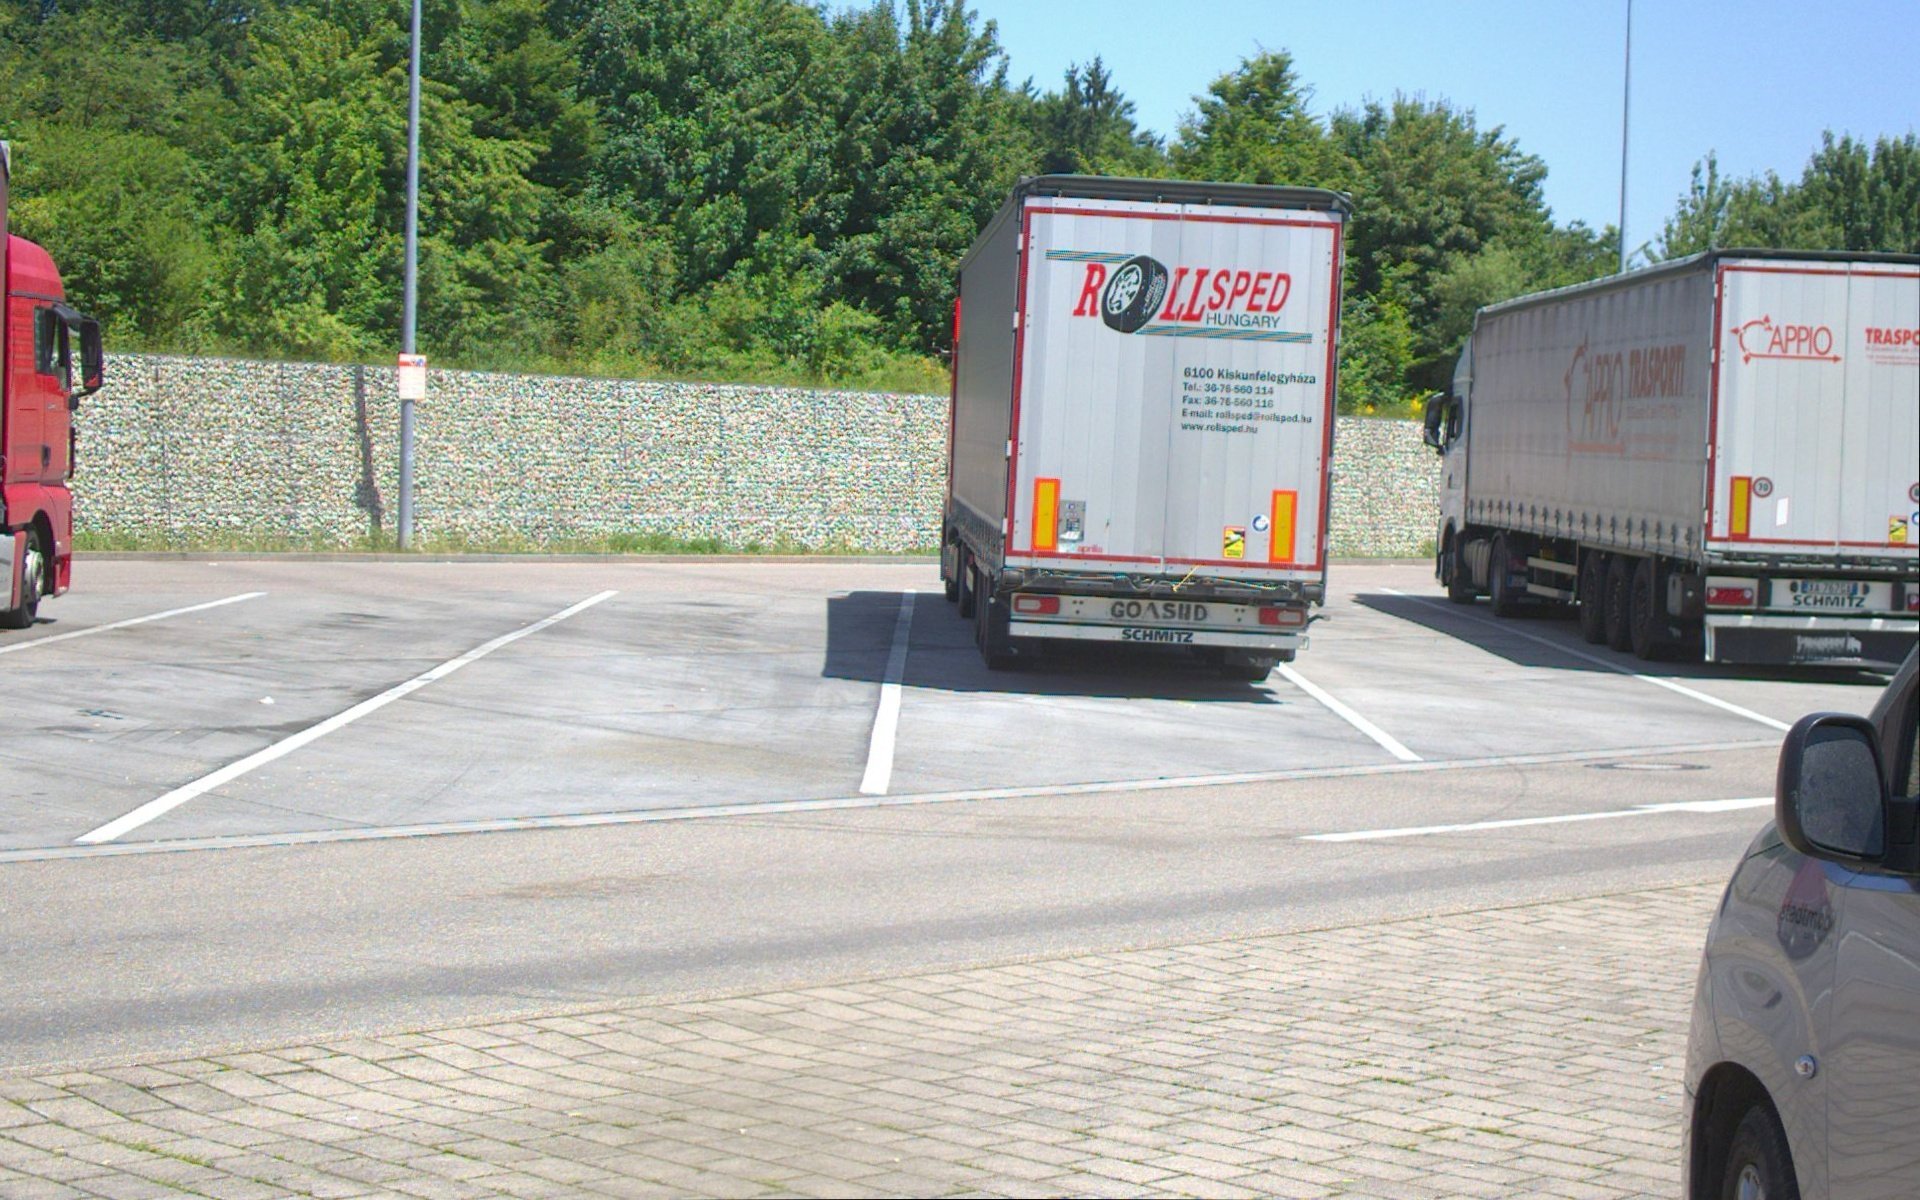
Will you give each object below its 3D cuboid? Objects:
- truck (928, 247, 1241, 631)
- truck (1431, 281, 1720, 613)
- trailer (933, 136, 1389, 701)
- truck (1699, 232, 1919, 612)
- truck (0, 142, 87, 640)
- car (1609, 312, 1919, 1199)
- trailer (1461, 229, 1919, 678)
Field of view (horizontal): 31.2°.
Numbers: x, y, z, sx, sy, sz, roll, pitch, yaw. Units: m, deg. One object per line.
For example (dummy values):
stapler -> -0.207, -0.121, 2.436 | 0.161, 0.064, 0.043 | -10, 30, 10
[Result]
truck -> 1.267, -1.858, 39.407 | 3.026, 3.915, 6.847 | 2, 3, -2
truck -> 8.031, -1.992, 45.471 | 2.757, 4.110, 5.285 | 1, 2, -1
trailer -> 1.482, -1.699, 32.639 | 3.069, 4.213, 12.810 | 2, 3, -2
truck -> 11.758, -1.961, 39.793 | 2.904, 4.110, 14.528 | 3, 2, -1
truck -> -9.227, -1.704, 27.656 | 2.743, 4.067, 6.830 | 1, 2, -1
car -> 2.141, 0.542, 3.795 | 1.825, 1.747, 4.001 | 1, 2, -4
trailer -> 8.145, -1.575, 38.475 | 2.876, 4.110, 13.572 | 1, 2, -1
